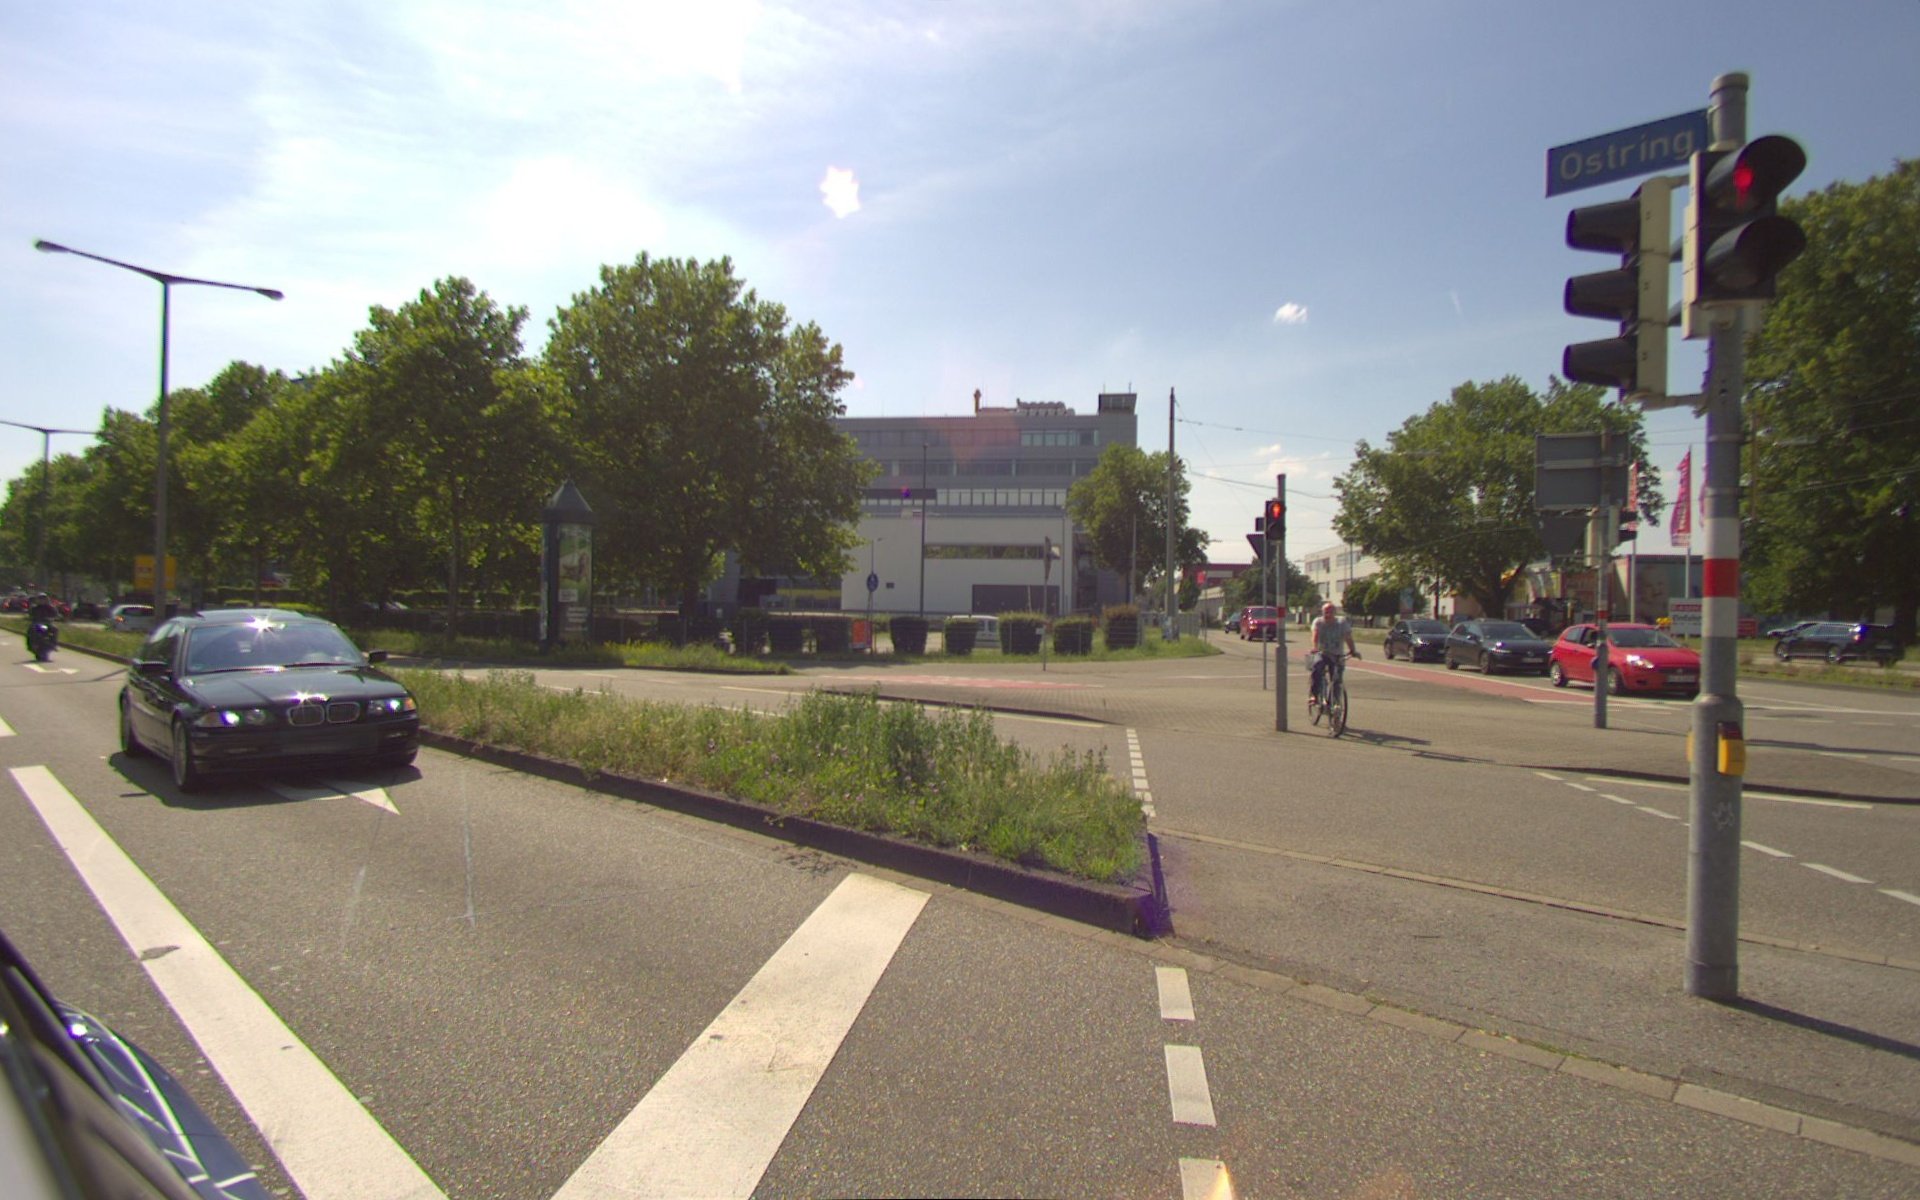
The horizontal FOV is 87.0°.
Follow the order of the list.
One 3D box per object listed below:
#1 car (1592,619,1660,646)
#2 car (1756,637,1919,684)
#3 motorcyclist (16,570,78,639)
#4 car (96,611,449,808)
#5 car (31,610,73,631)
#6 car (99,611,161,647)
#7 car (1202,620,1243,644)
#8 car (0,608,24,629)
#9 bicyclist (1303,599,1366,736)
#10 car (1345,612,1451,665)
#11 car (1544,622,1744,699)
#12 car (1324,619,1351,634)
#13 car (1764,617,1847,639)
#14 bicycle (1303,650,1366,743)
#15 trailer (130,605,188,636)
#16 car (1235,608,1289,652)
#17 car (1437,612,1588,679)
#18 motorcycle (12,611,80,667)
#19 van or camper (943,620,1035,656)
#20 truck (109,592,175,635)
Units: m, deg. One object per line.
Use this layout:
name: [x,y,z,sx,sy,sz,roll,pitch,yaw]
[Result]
car: [50.626,2.452,77.011,3.976,2.029,1.984,0,-1,24]
car: [30.351,2.042,35.092,1.761,1.454,4.230,0,-1,-9]
motorcyclist: [-23.356,0.126,25.892,1.042,1.712,1.052,-1,-2,42]
car: [-6.360,0.797,9.181,4.066,1.372,1.708,-1,0,42]
car: [-64.414,1.426,71.757,3.766,1.445,1.828,0,-1,42]
car: [-37.017,1.272,45.098,3.735,1.525,1.631,-1,-1,43]
car: [19.245,2.358,74.398,1.972,1.712,3.998,0,-1,1]
car: [-91.094,1.779,96.786,4.000,2.029,1.972,-1,-1,43]
bicyclist: [5.053,0.890,13.710,0.698,1.802,0.765,0,-1,13]
car: [15.073,1.308,35.113,1.972,1.712,3.998,0,-1,1]
car: [14.265,1.201,21.418,1.825,1.460,3.992,0,-1,6]
car: [38.192,2.668,102.473,1.680,1.438,3.851,0,-1,8]
car: [62.914,2.066,75.389,4.335,1.576,1.869,0,-1,10]
bicycle: [5.039,1.257,13.717,0.520,1.072,2.156,0,-1,13]
trailer: [-46.127,1.174,58.250,3.991,1.729,2.039,-1,-1,43]
car: [16.750,1.635,56.415,2.127,2.295,5.028,0,-1,8]
car: [15.189,1.210,28.102,1.972,1.712,4.000,0,-1,0]
motorcycle: [-23.390,0.979,25.880,2.331,1.361,1.038,-1,-1,42]
van or camper: [1.478,1.856,50.382,4.455,1.704,1.997,0,-1,5]
truck: [-50.236,0.828,62.082,7.128,2.494,2.116,0,-1,42]
